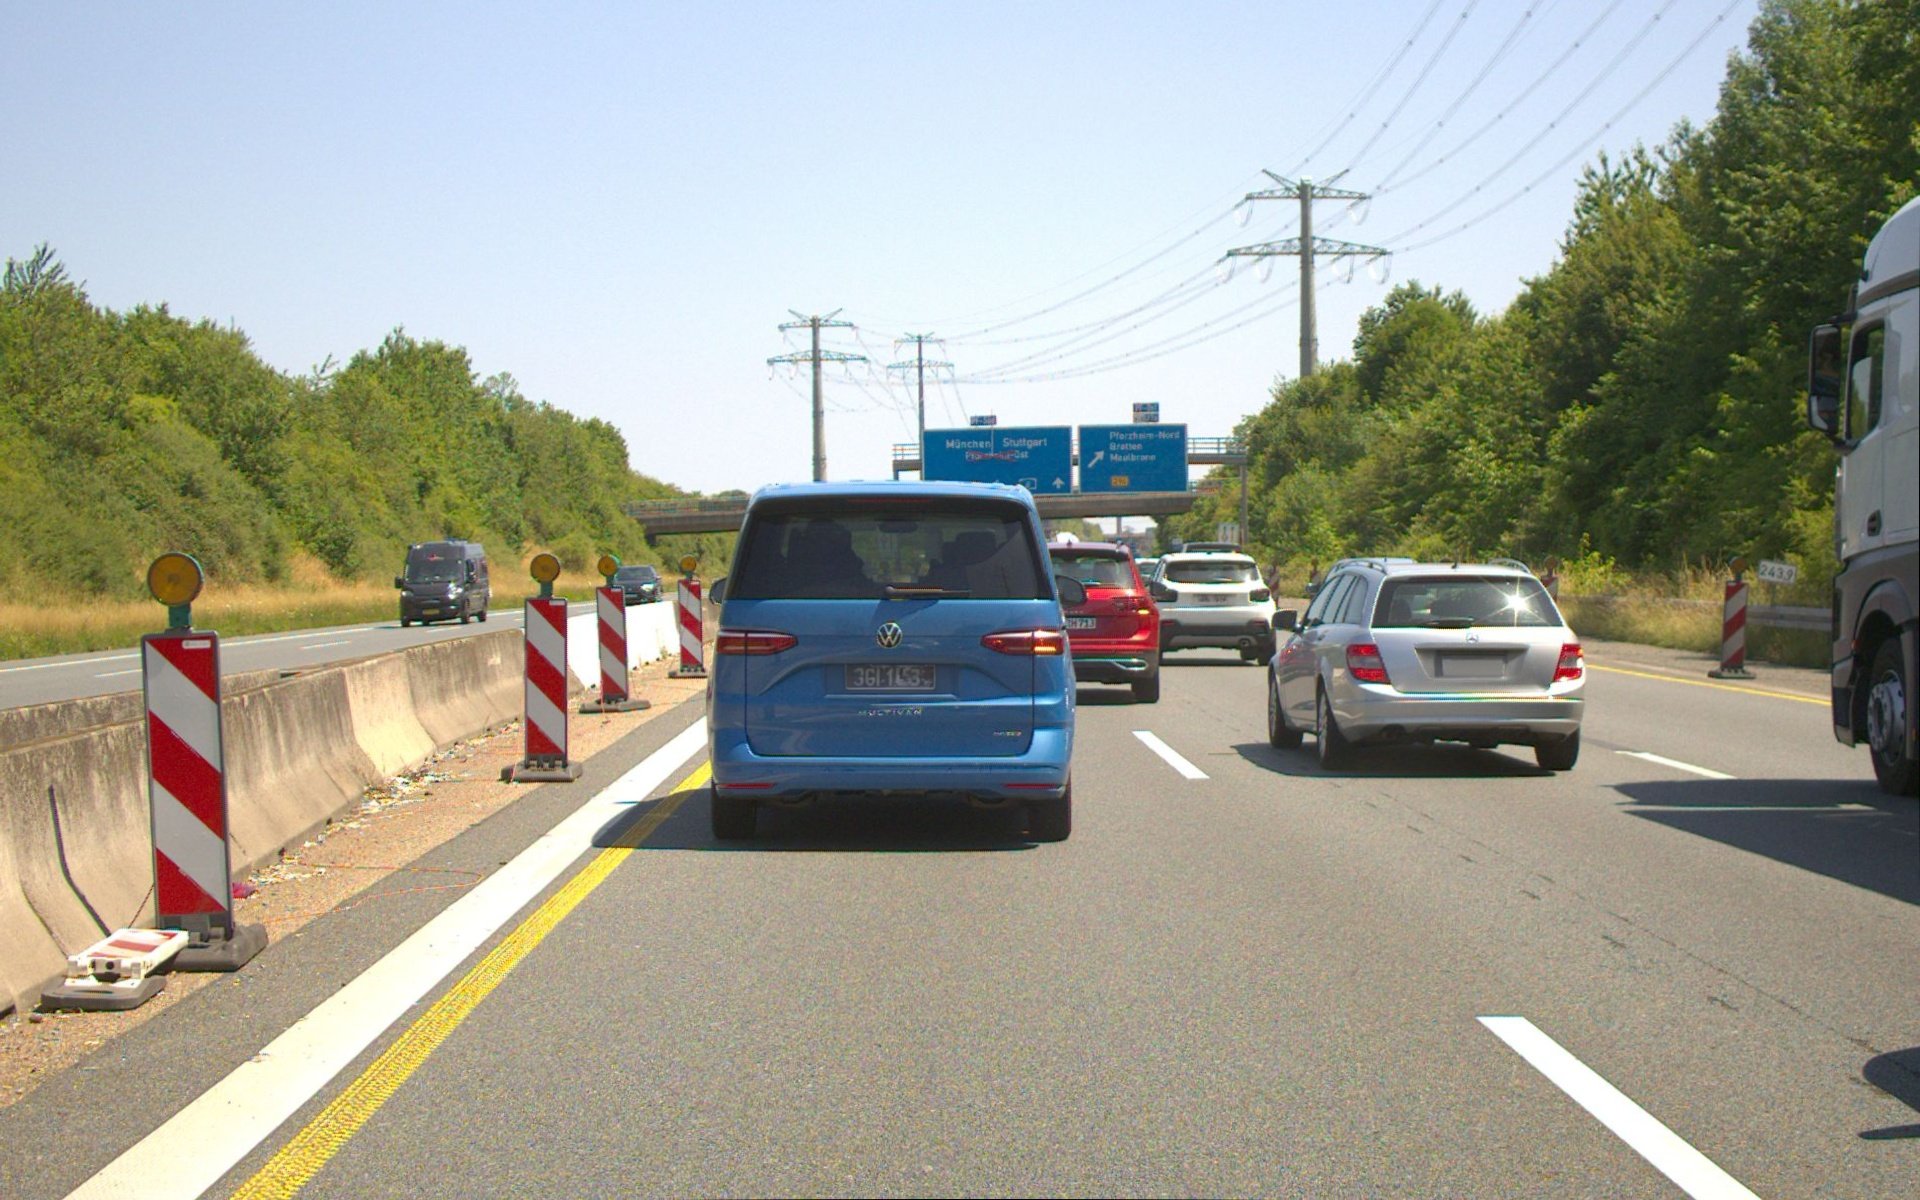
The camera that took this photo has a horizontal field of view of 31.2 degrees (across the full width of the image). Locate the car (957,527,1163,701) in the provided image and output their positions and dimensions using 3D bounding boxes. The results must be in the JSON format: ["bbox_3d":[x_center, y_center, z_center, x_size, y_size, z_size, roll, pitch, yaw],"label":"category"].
[{"bbox_3d":[0.976,0.114,35.639,1.874,1.665,4.360,1,1,-1],"label":"car"}]

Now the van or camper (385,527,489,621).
[{"bbox_3d":[-16.269,-0.824,107.226,2.222,2.701,7.081,-3,1,-2],"label":"van or camper"}]

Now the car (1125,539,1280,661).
[{"bbox_3d":[3.332,-0.021,47.954,1.797,1.588,4.227,1,1,-1],"label":"car"}]

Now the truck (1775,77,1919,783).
[{"bbox_3d":[6.835,-0.959,19.695,2.733,4.033,5.794,1,1,-2],"label":"truck"}]

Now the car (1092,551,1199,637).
[{"bbox_3d":[3.590,-0.132,67.139,1.797,1.588,4.227,1,1,-1],"label":"car"}]

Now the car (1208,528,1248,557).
[{"bbox_3d":[15.773,-3.371,202.491,1.874,1.665,4.360,1,1,-1],"label":"car"}]

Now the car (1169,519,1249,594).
[{"bbox_3d":[6.859,-1.193,95.092,1.797,2.007,4.227,1,1,-1],"label":"car"}]

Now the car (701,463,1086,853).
[{"bbox_3d":[-0.383,0.265,19.199,1.874,1.905,4.360,1,1,-1],"label":"car"}]

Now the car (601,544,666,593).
[{"bbox_3d":[-12.110,-1.182,127.667,1.993,1.678,4.153,-3,1,-1],"label":"car"}]

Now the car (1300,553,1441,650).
[{"bbox_3d":[6.420,-0.004,54.058,1.701,1.443,3.788,1,1,-1],"label":"car"}]

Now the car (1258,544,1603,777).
[{"bbox_3d":[3.295,0.375,24.848,1.770,1.512,4.360,1,1,-1],"label":"car"}]
